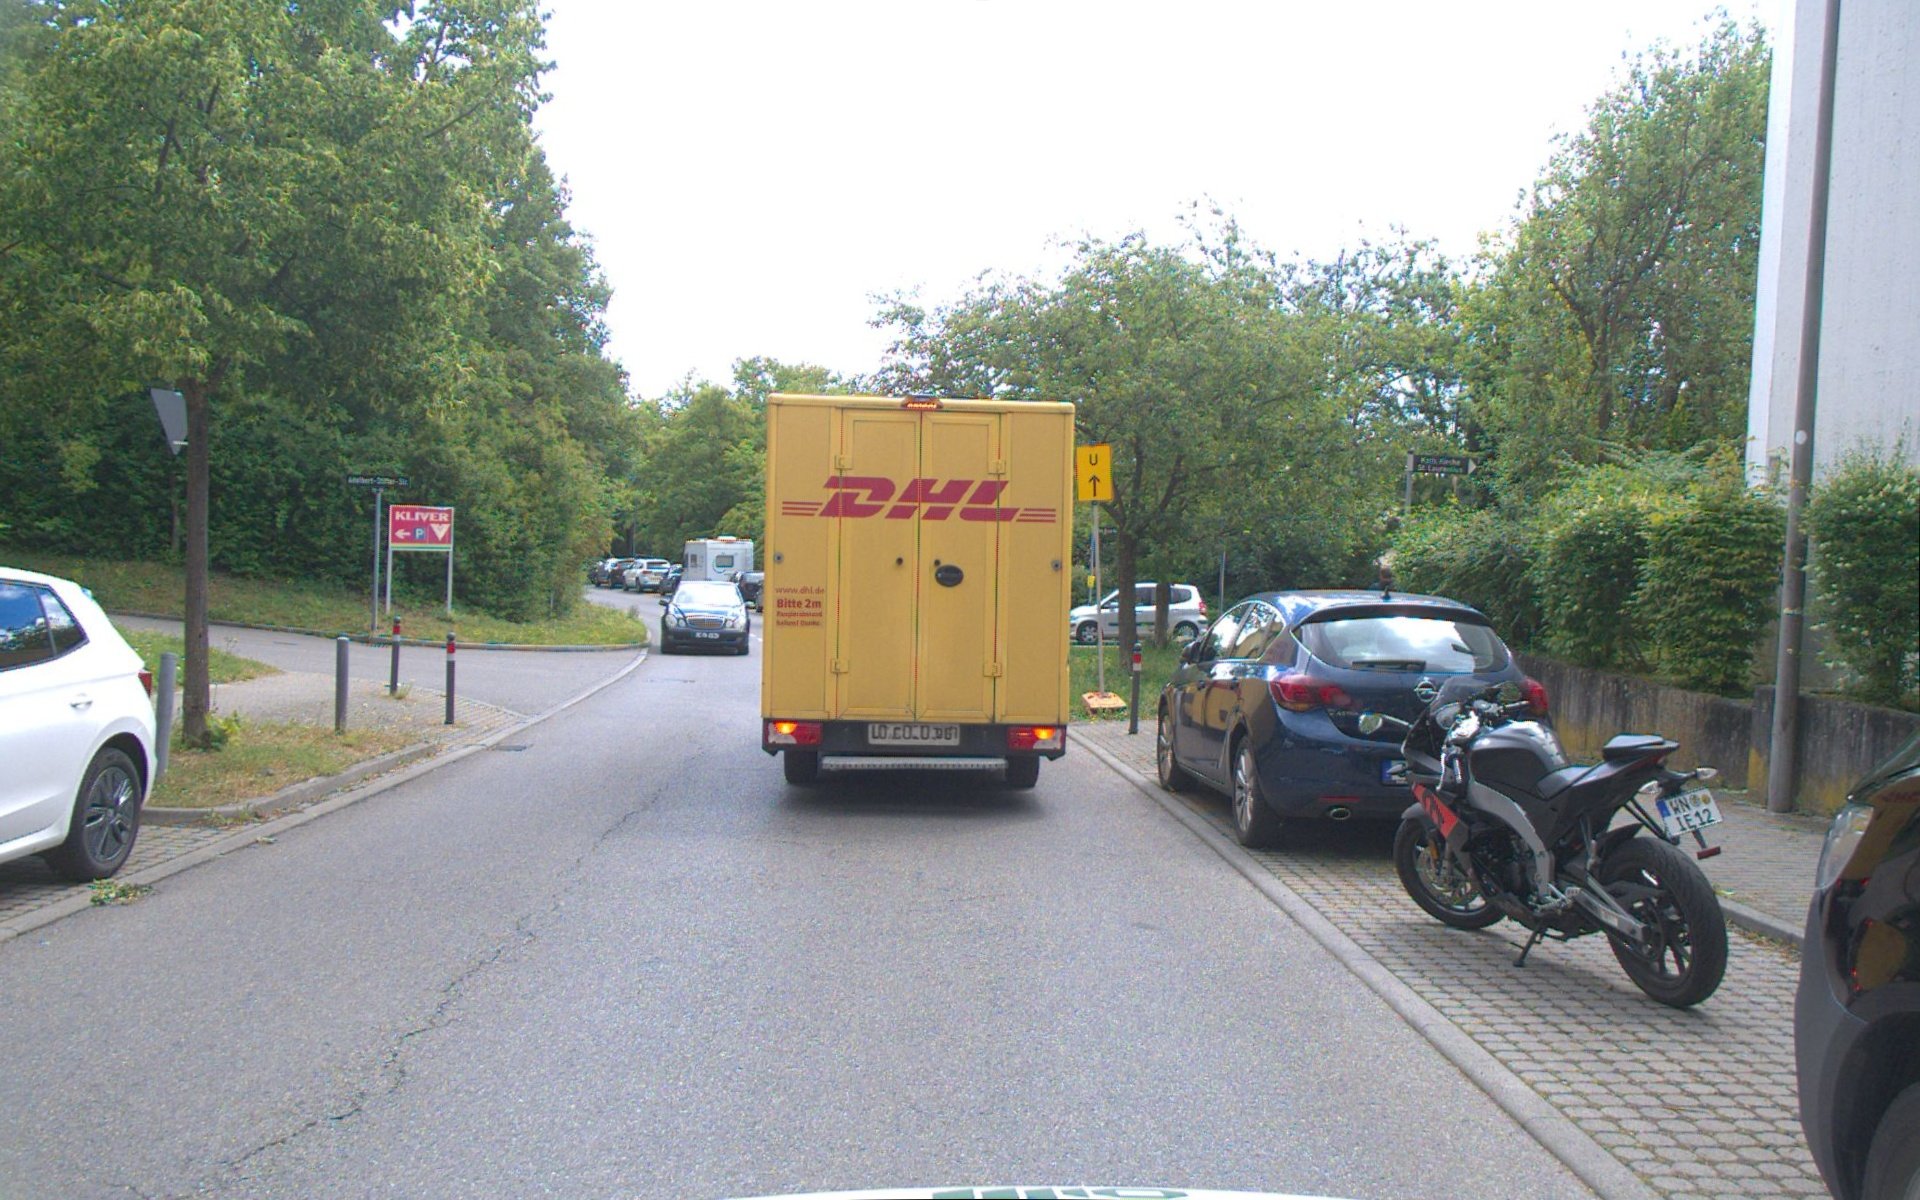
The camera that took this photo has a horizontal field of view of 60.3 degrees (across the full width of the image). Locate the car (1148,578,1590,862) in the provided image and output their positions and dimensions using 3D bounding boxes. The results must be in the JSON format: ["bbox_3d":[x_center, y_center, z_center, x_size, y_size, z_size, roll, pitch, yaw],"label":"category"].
[{"bbox_3d":[2.436,0.653,10.879,1.694,1.458,3.966,2,0,-3],"label":"car"}]

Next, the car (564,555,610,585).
[{"bbox_3d":[-22.408,-1.819,99.244,1.821,1.641,3.968,2,2,-26],"label":"car"}]

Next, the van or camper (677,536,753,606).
[{"bbox_3d":[-11.291,-1.372,75.915,2.291,2.921,5.228,2,2,-21],"label":"van or camper"}]

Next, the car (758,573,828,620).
[{"bbox_3d":[-6.299,-0.152,62.069,1.815,1.556,3.981,2,2,-18],"label":"car"}]

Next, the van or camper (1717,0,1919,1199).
[{"bbox_3d":[2.561,0.090,0.638,1.953,2.567,5.469,0,0,-1],"label":"van or camper"}]

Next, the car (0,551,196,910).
[{"bbox_3d":[-4.725,0.510,6.455,1.641,1.461,3.969,3,1,-1],"label":"car"}]

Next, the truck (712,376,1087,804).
[{"bbox_3d":[-0.584,-0.114,14.124,2.417,2.749,6.820,0,1,-3],"label":"truck"}]

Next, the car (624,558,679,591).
[{"bbox_3d":[-16.485,-1.389,88.235,1.821,1.556,3.968,2,2,-26],"label":"car"}]

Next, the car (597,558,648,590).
[{"bbox_3d":[-19.148,-1.477,93.740,1.821,1.641,3.968,2,2,-26],"label":"car"}]

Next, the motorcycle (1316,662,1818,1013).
[{"bbox_3d":[2.311,0.848,6.659,0.883,1.131,2.077,2,-2,-14],"label":"motorcycle"}]

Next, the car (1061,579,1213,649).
[{"bbox_3d":[4.421,0.337,41.590,3.557,1.511,1.691,3,2,-1],"label":"car"}]

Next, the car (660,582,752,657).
[{"bbox_3d":[-5.205,0.353,34.273,1.642,1.378,3.964,3,1,-6],"label":"car"}]

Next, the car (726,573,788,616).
[{"bbox_3d":[-8.536,-0.245,69.257,1.815,1.556,3.981,2,2,-18],"label":"car"}]
